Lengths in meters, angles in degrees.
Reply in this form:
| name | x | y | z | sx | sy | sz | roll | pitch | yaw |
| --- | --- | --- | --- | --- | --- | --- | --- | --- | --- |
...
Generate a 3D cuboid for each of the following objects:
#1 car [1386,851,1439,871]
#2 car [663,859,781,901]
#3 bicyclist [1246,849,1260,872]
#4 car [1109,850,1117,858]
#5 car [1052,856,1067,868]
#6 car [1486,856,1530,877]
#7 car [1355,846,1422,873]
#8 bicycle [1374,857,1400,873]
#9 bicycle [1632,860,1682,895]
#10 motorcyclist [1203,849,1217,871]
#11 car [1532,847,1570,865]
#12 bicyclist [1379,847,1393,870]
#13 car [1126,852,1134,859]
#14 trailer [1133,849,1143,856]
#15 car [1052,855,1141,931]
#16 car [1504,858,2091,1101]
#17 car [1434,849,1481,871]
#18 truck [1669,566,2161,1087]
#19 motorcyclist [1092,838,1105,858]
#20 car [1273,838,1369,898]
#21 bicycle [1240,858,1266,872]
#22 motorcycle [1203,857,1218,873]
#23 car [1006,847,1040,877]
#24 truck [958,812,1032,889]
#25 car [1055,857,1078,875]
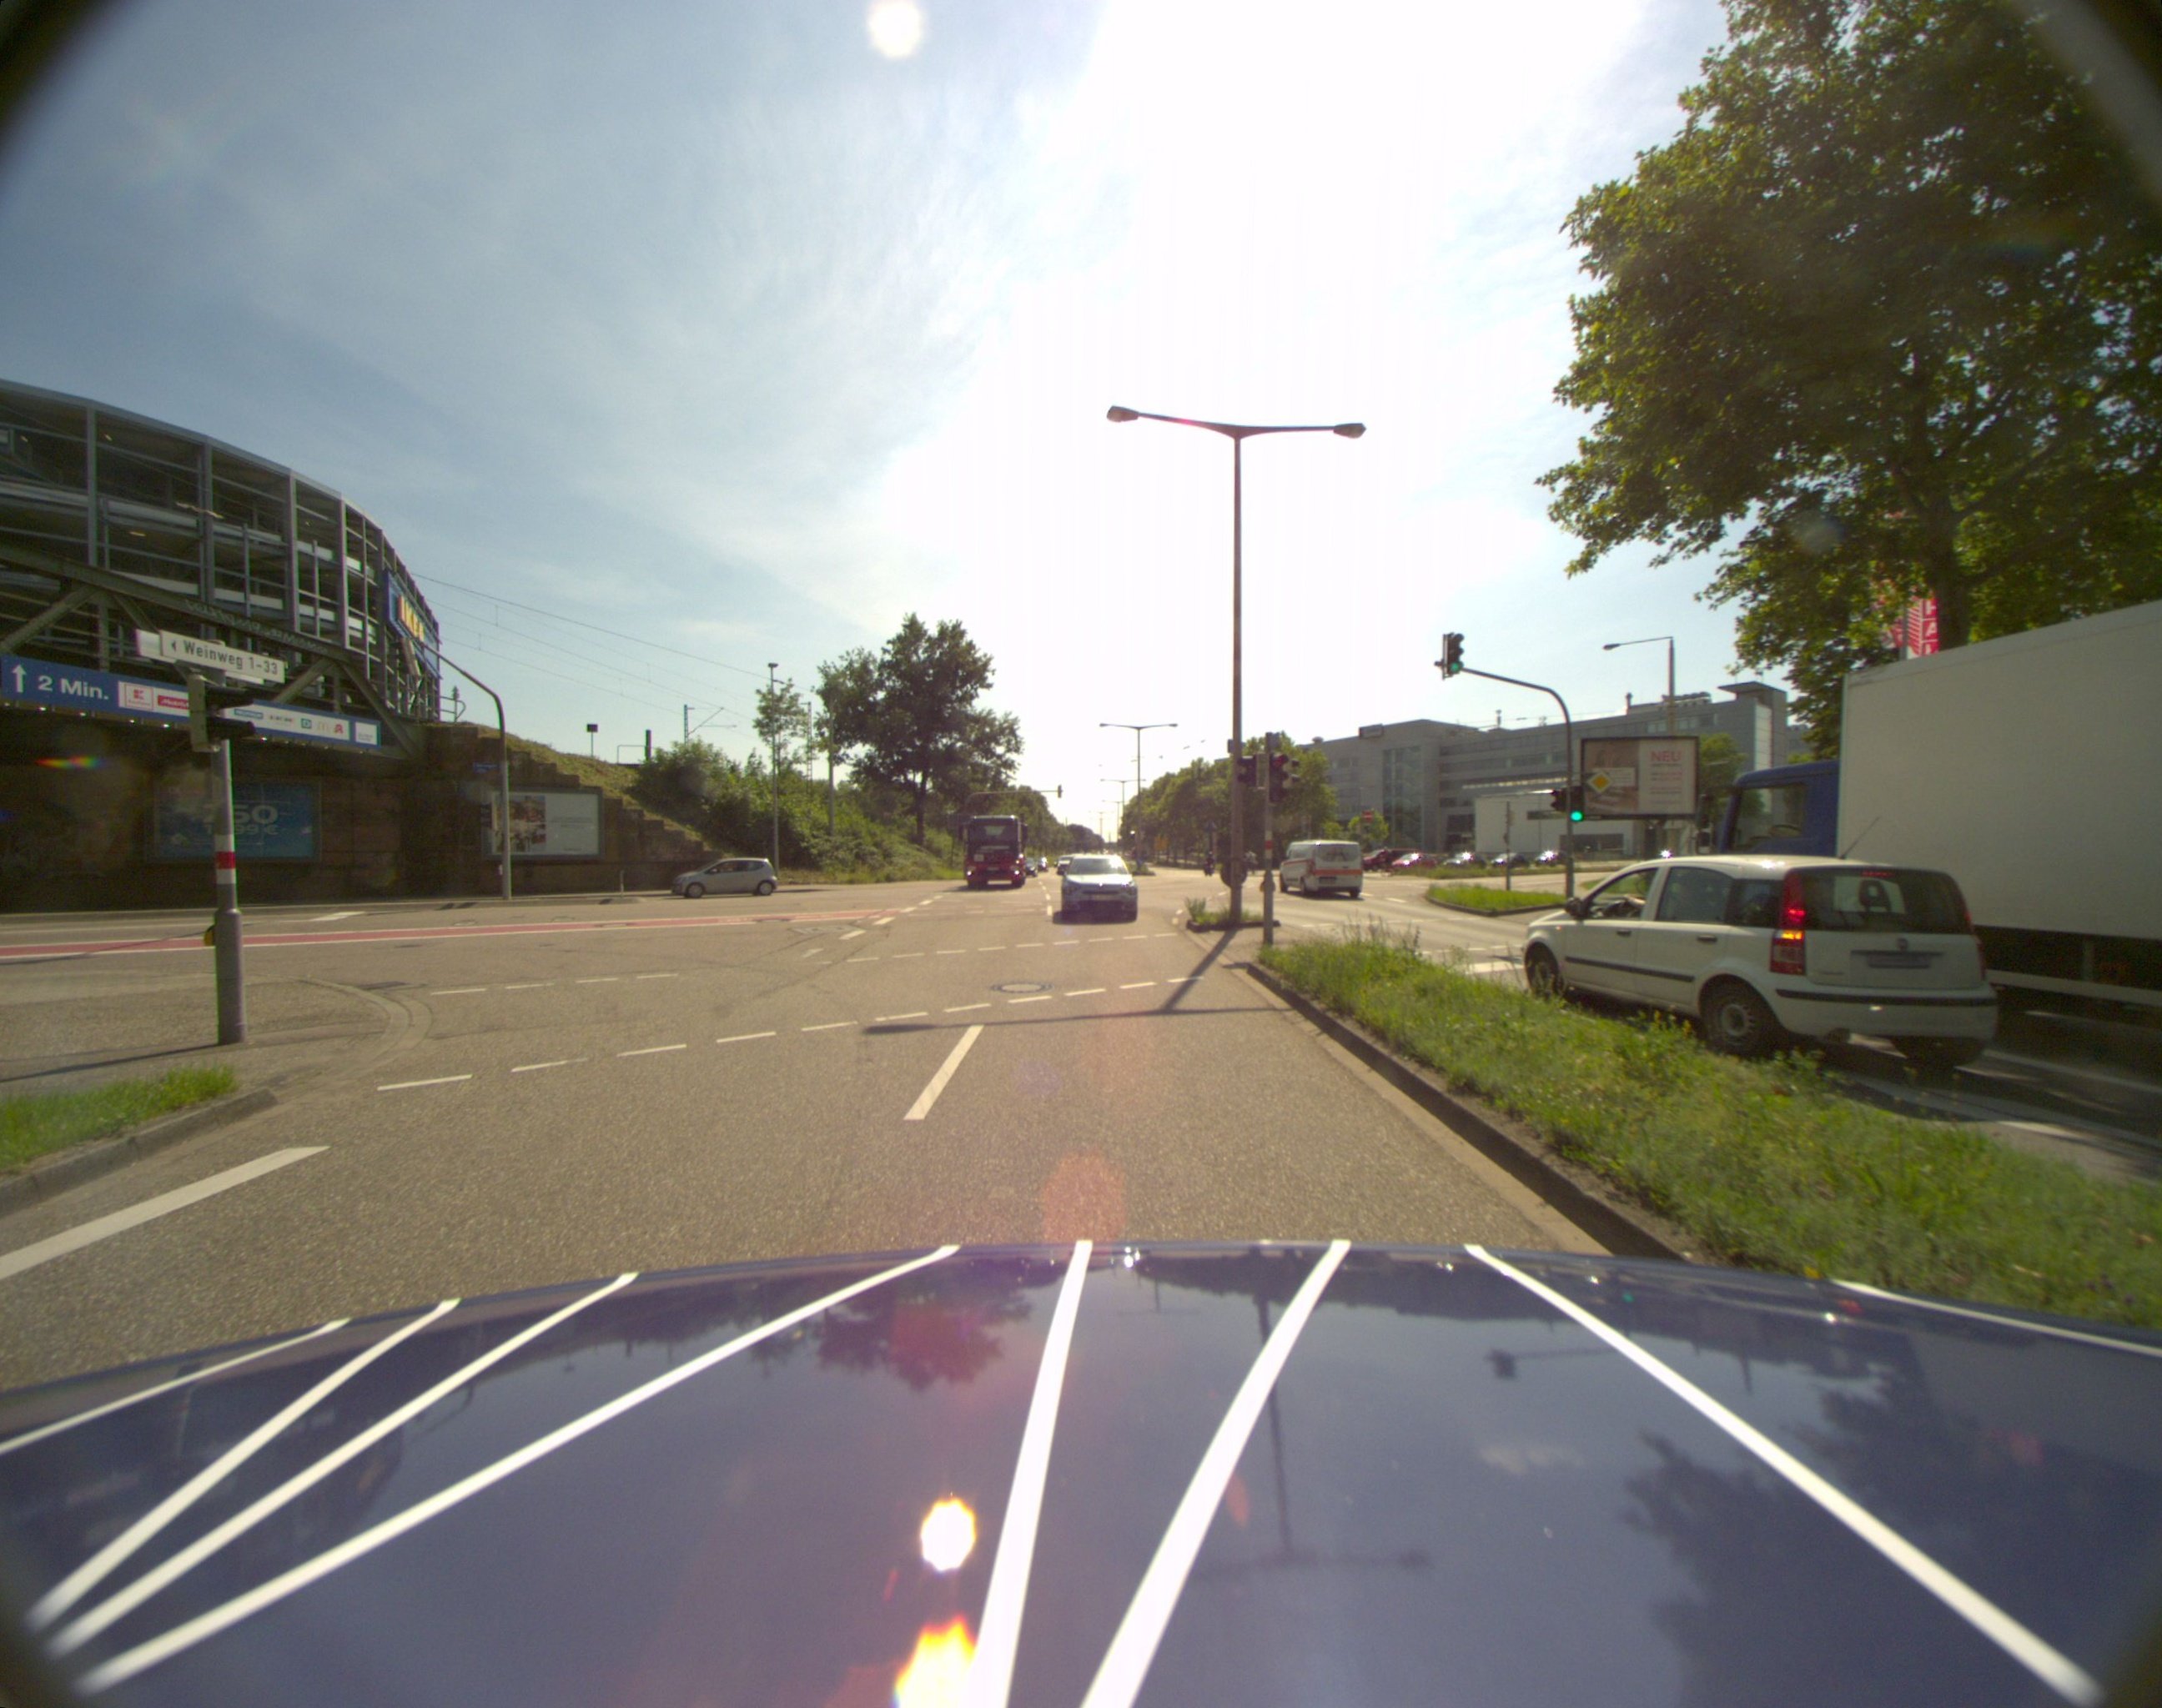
| name | x | y | z | sx | sy | sz | roll | pitch | yaw |
| --- | --- | --- | --- | --- | --- | --- | --- | --- | --- |
| car | 25.167 | 0.491 | 57.598 | 4.007 | 1.441 | 1.842 | -1 | 0 | -35 |
| car | -13.361 | 0.909 | 28.387 | 3.685 | 1.429 | 1.701 | -1 | 1 | -38 |
| bicyclist | 13.454 | 0.488 | 59.485 | 0.769 | 1.778 | 0.704 | -1 | 1 | -28 |
| car | 8.261 | -0.084 | 195.640 | 1.998 | 2.002 | 4.000 | -1 | 0 | 1 |
| car | -2.918 | 1.115 | 104.806 | 1.825 | 1.521 | 4.548 | -1 | 0 | 2 |
| car | 36.447 | 1.057 | 64.874 | 4.008 | 1.689 | 1.994 | -1 | 1 | -40 |
| car | 26.948 | 0.470 | 66.731 | 5.039 | 2.265 | 2.151 | 0 | 1 | -4 |
| bicycle | 18.472 | 0.681 | 45.933 | 0.435 | 0.932 | 1.748 | -1 | 1 | -19 |
| bicycle | 18.233 | 0.710 | 24.078 | 0.595 | 1.031 | 1.897 | 0 | 1 | 15 |
| motorcyclist | 8.602 | 0.391 | 50.566 | 0.745 | 1.462 | 0.987 | -1 | 1 | 1 |
| car | 45.464 | 0.142 | 73.463 | 4.008 | 1.689 | 1.994 | -1 | 0 | -40 |
| bicyclist | 18.436 | 0.259 | 45.918 | 0.530 | 1.406 | 0.608 | -1 | 1 | -20 |
| car | 10.637 | 0.329 | 164.827 | 1.653 | 1.505 | 3.736 | -1 | 0 | 1 |
| trailer | 13.482 | -0.369 | 179.840 | 2.066 | 1.706 | 3.992 | 0 | 0 | 7 |
| car | 0.419 | 0.808 | 18.058 | 1.825 | 1.521 | 4.752 | -1 | 0 | 2 |
| car | 5.495 | 0.794 | 6.602 | 1.597 | 1.468 | 3.729 | 1 | 0 | 1 |
| car | 30.510 | 0.475 | 61.598 | 4.008 | 1.689 | 1.994 | -1 | 1 | -40 |
| truck | 8.566 | -0.160 | 5.892 | 2.811 | 3.451 | 6.691 | 1 | 0 | 1 |
| motorcyclist | 1.486 | -0.525 | 64.497 | 1.066 | 1.689 | 1.042 | -1 | 1 | 0 |
| car | 8.758 | 0.470 | 28.215 | 1.981 | 1.988 | 5.031 | 2 | 0 | 1 |
| bicycle | 13.456 | 0.827 | 59.480 | 2.169 | 1.058 | 0.524 | -1 | 1 | -28 |
| motorcycle | 8.626 | 0.715 | 50.710 | 0.689 | 0.985 | 2.217 | -1 | 0 | 1 |
| car | -4.032 | 0.520 | 53.519 | 1.998 | 2.002 | 4.000 | -1 | 0 | 1 |
| truck | -3.861 | -0.169 | 35.842 | 2.776 | 3.248 | 7.481 | 0 | 0 | -1 |
| car | -1.281 | 1.025 | 68.067 | 1.825 | 1.521 | 4.548 | -1 | 0 | 2 |
